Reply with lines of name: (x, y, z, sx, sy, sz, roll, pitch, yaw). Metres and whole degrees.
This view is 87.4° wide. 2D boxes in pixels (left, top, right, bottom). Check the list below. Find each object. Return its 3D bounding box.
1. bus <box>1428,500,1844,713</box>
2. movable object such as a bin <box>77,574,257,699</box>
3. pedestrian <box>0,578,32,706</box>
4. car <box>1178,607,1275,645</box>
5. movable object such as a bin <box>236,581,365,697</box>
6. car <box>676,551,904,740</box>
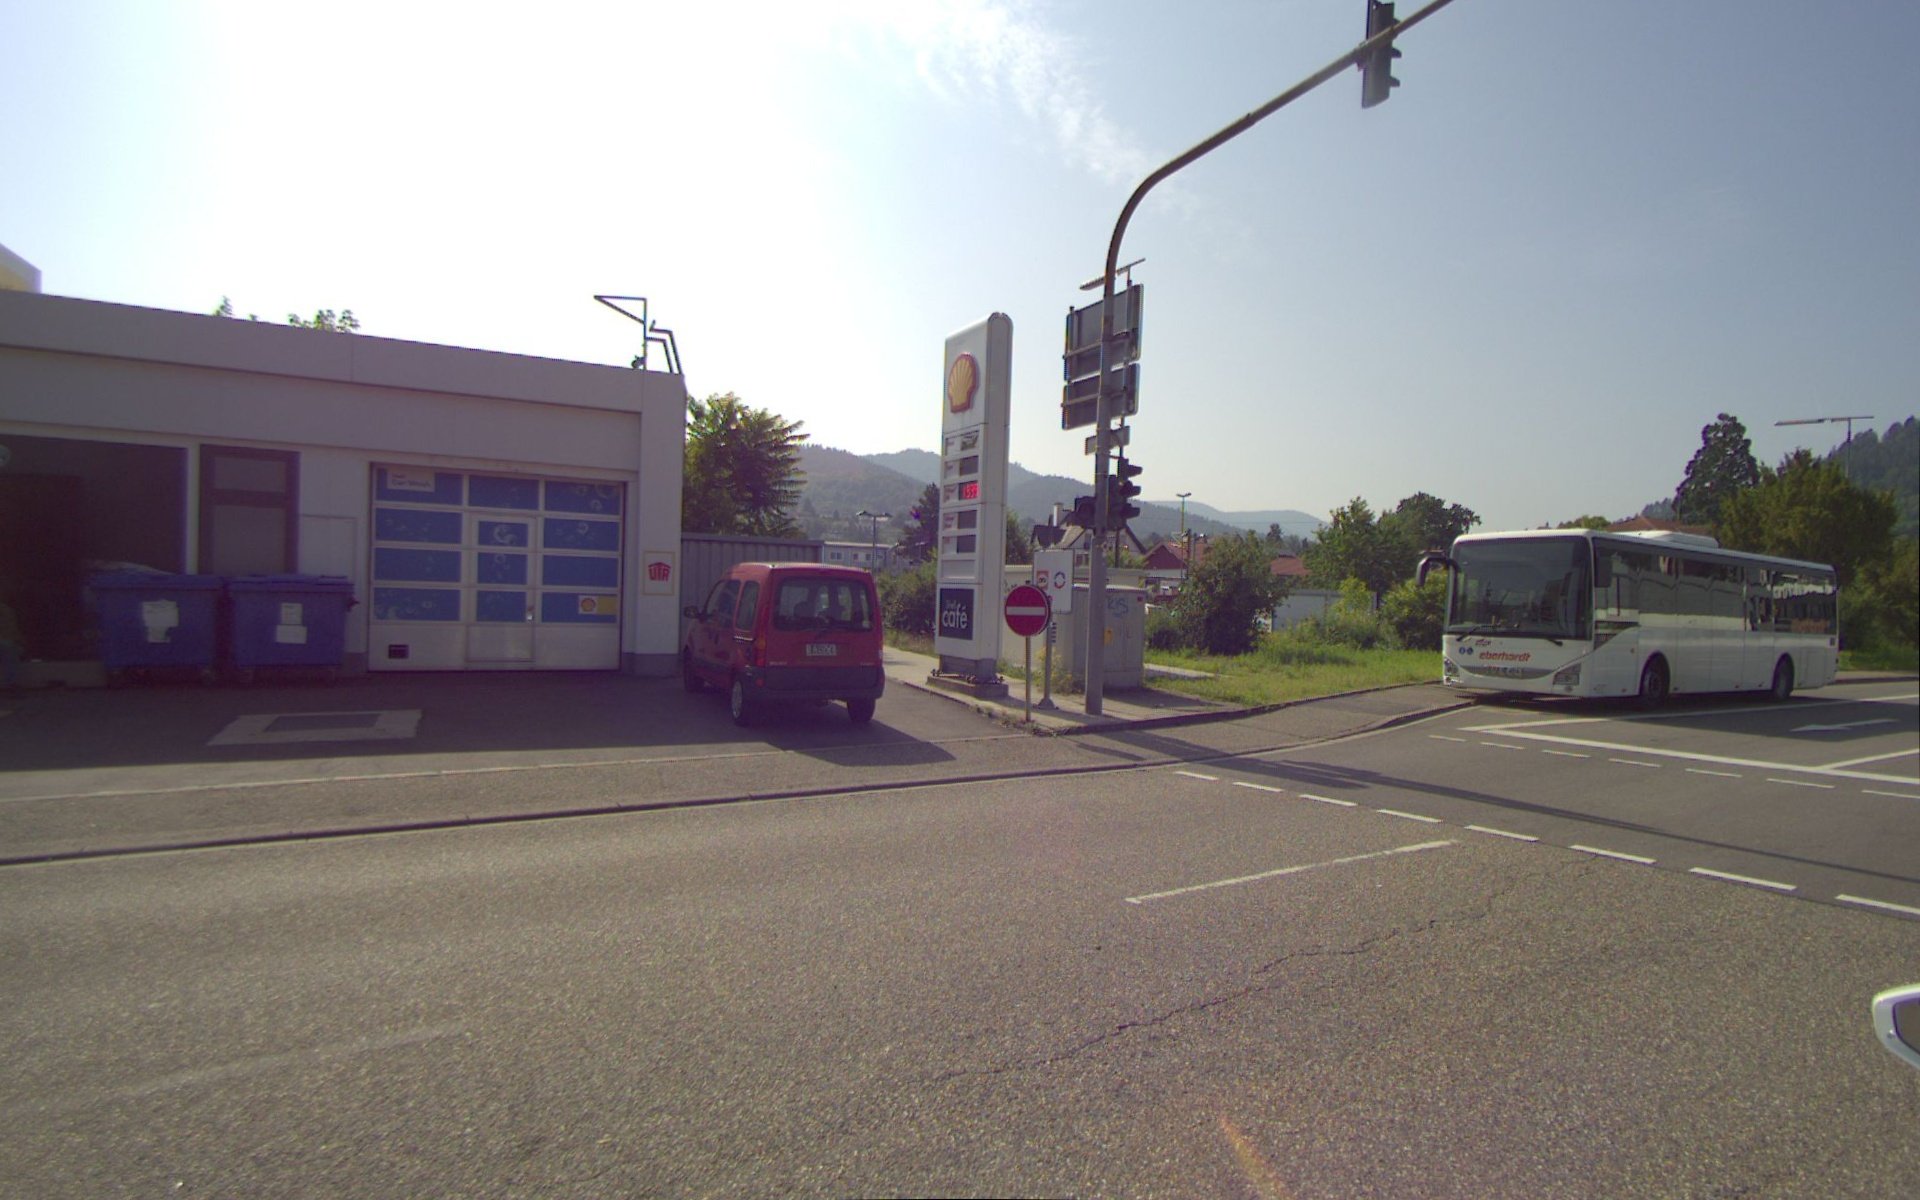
bus: (14.069, 0.259, 20.232, 11.831, 3.354, 2.605, 2, 0, -34)
movable object such as a bin: (-9.311, 0.411, 11.885, 1.416, 1.307, 1.236, 2, 4, -26)
pedestrian: (-10.354, 0.422, 10.496, 0.805, 1.313, 0.612, 2, 2, -28)
car: (9.528, 0.920, 35.873, 3.436, 1.255, 1.302, 2, 0, -31)
movable object such as a bin: (-8.079, 0.460, 12.377, 1.152, 1.259, 1.236, 2, 4, -26)
car: (-2.240, 0.412, 12.353, 1.680, 1.820, 3.761, 1, 4, -27)
